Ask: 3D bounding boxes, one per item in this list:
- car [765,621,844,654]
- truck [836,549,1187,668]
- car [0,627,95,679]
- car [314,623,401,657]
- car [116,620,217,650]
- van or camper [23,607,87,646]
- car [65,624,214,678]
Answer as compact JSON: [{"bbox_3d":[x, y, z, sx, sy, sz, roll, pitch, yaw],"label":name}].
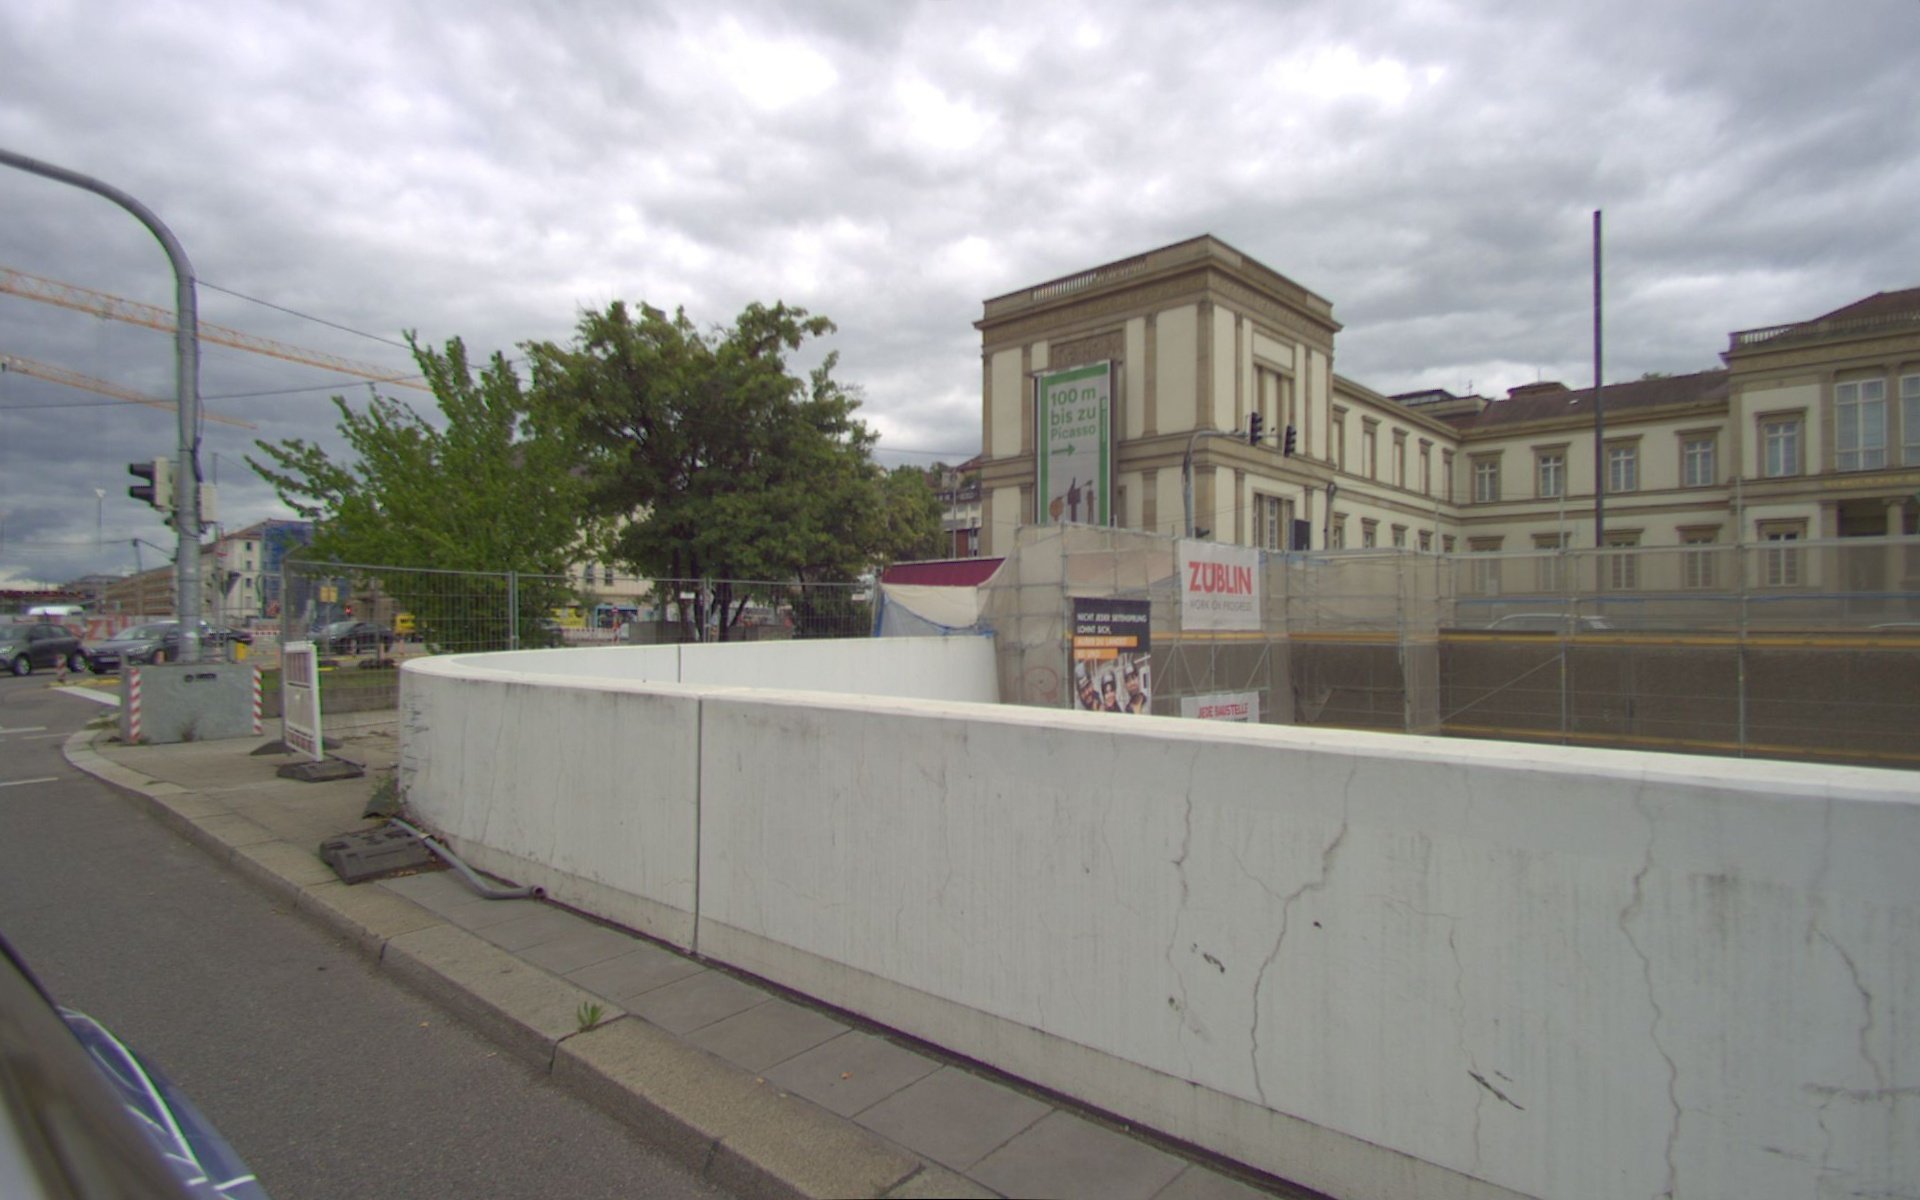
[{"bbox_3d":[-7.744,1.869,50.209,4.132,1.515,1.746,-3,-3,43],"label":"car"},{"bbox_3d":[1.303,0.542,41.613,16.617,4.114,2.885,-2,-4,44],"label":"truck"},{"bbox_3d":[-27.414,1.514,29.426,1.555,1.430,3.573,1,-2,-3],"label":"car"},{"bbox_3d":[-27.869,1.827,46.946,1.849,1.431,4.109,-1,-1,-4],"label":"car"},{"bbox_3d":[-42.741,1.902,54.563,1.691,1.586,4.015,-3,-4,41],"label":"car"},{"bbox_3d":[-55.549,1.579,62.191,1.965,2.244,4.013,1,0,-27],"label":"van or camper"},{"bbox_3d":[-24.656,1.494,30.601,1.823,1.431,4.115,-1,-1,-12],"label":"car"}]
